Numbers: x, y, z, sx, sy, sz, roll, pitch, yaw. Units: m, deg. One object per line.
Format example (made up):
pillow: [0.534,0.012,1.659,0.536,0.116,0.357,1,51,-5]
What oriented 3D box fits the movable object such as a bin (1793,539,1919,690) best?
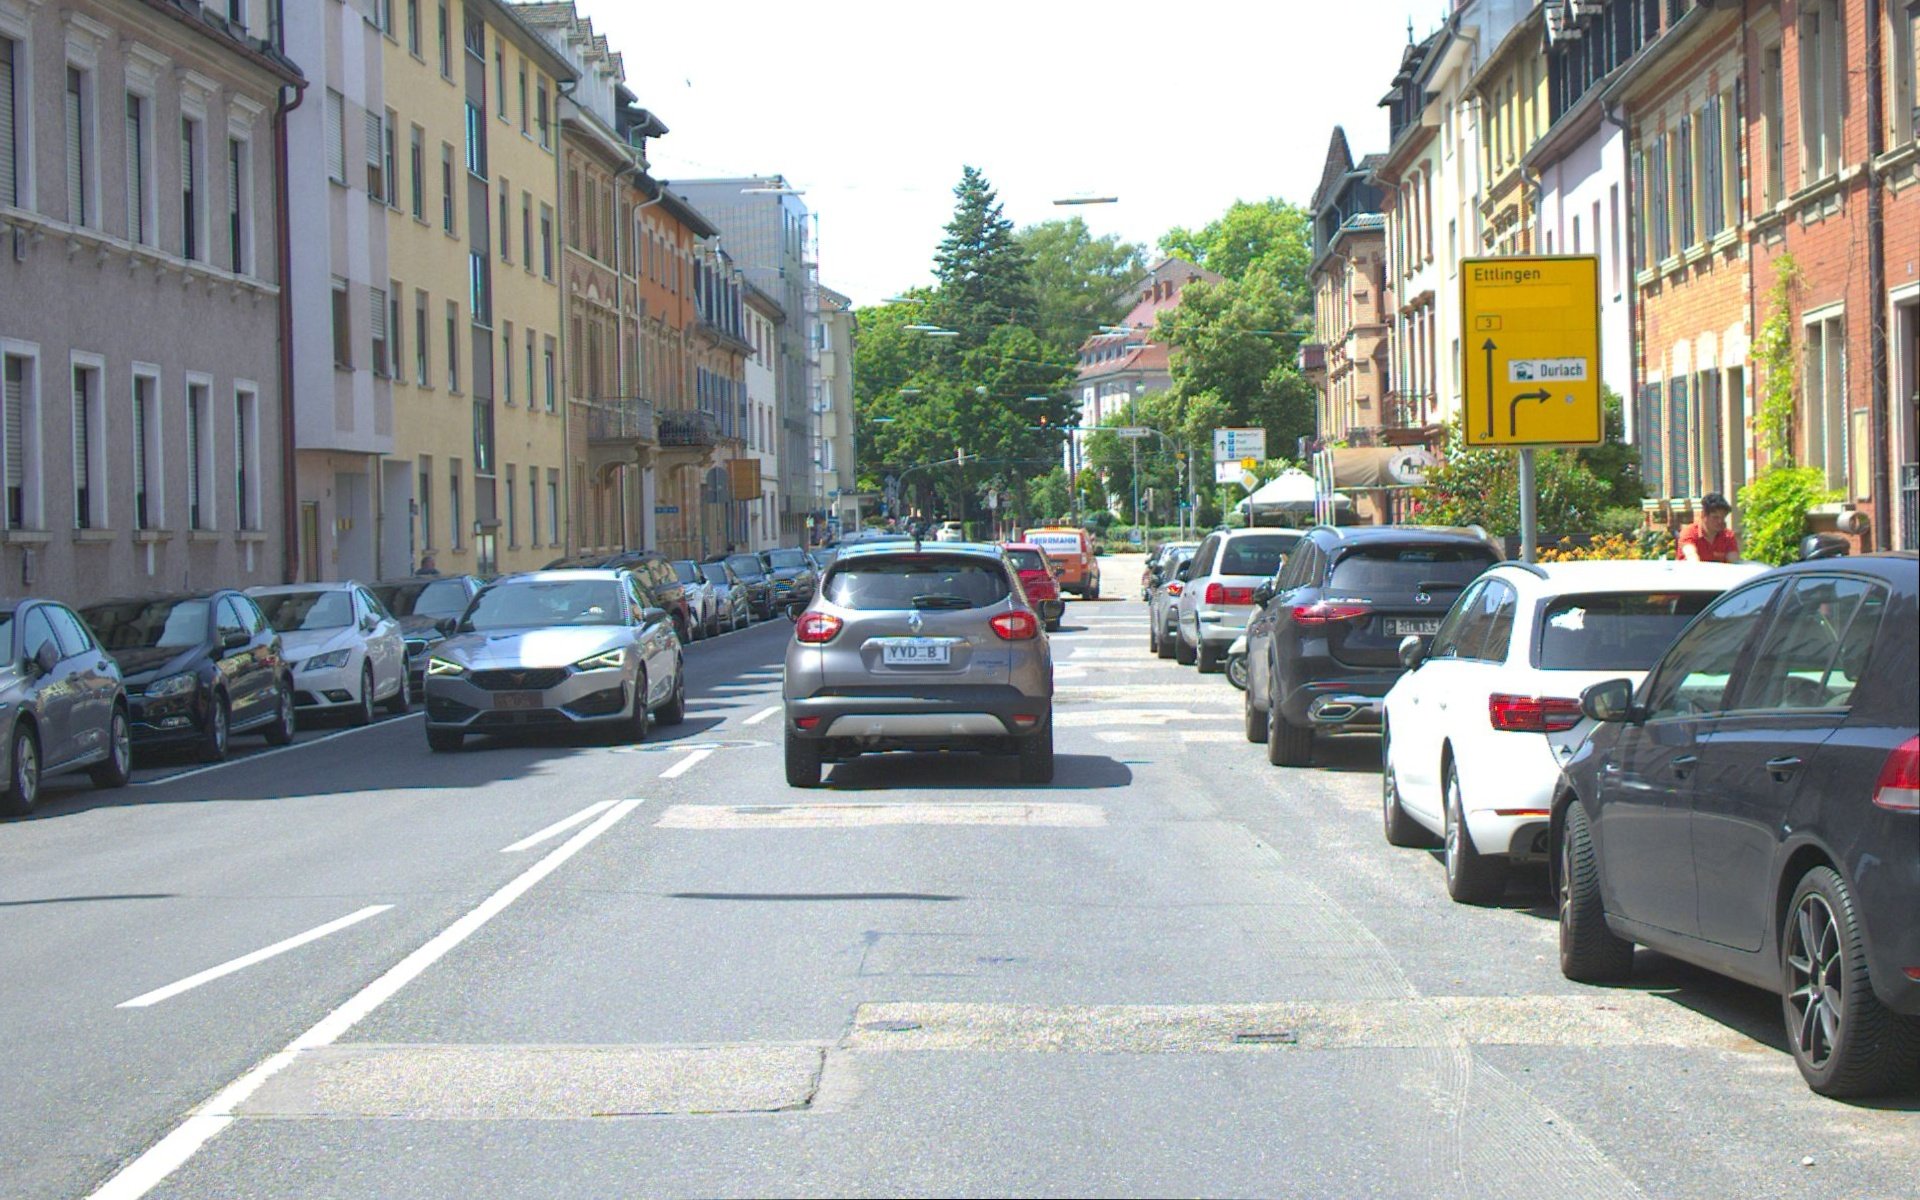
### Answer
movable object such as a bin: [6.717,0.103,25.727,0.788,1.085,0.539,-3,1,-1]

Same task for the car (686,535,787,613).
car: [-5.188,-0.633,80.335,1.905,1.614,4.302,-4,1,1]

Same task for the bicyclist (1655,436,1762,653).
bicyclist: [5.213,-0.387,23.969,0.532,1.464,0.791,-3,1,2]

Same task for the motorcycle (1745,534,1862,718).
motorcycle: [5.967,0.166,24.360,0.440,1.233,1.358,-4,1,1]

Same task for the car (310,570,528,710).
car: [-6.397,0.428,41.140,1.840,1.417,4.646,-4,1,-1]

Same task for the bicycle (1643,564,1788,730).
bicycle: [5.241,0.308,23.939,0.593,1.062,1.882,-3,1,2]

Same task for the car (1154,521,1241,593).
car: [5.304,-0.984,77.278,1.860,1.548,4.000,0,1,3]

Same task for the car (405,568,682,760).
car: [-3.479,0.489,29.453,1.790,1.415,4.315,-2,1,0]

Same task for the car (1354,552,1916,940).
car: [2.909,0.543,15.771,1.716,1.409,4.589,-3,1,1]

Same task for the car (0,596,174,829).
car: [-6.999,0.814,24.093,1.840,1.417,4.503,-7,1,0]

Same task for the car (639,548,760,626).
car: [-5.339,-0.293,70.944,1.905,1.396,4.755,-4,1,2]

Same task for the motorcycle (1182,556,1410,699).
motorcycle: [3.397,0.272,34.821,1.994,1.381,1.110,-1,1,40]

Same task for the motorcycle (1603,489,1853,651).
motorcycle: [7.445,-0.298,33.405,2.129,1.403,0.937,-4,1,1]

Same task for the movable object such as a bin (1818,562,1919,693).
movable object such as a bin: [6.751,0.195,25.109,0.788,0.904,0.539,-3,1,-1]

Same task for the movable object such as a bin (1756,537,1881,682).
movable object such as a bin: [6.718,0.071,26.918,0.788,1.085,0.554,-3,1,-1]

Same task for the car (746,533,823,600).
car: [-4.661,-0.910,91.787,1.904,1.614,4.303,-4,1,-2]

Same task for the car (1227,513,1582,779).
car: [3.104,0.258,24.910,1.993,1.656,4.625,-3,1,1]

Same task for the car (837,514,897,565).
car: [-3.564,-2.341,132.052,1.905,1.815,4.302,-3,1,3]

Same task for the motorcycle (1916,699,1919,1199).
motorcycle: [2.951,0.790,6.357,1.994,1.221,1.110,0,1,40]

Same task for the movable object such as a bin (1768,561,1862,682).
movable object such as a bin: [7.765,0.191,31.241,0.659,1.051,0.748,-2,1,2]

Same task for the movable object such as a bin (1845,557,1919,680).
movable object such as a bin: [8.442,0.163,31.222,0.609,1.073,0.761,-2,1,2]

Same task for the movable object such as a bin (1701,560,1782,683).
movable object such as a bin: [7.111,0.191,31.286,0.557,1.072,0.727,-2,1,2]

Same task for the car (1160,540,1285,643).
car: [4.061,-0.168,53.752,1.695,1.482,4.618,0,1,1]

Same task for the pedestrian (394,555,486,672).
pedestrian: [-8.076,0.203,53.388,1.151,1.744,0.969,-2,1,4]

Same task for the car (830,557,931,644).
car: [-1.799,-0.015,79.705,1.993,1.786,5.148,-3,1,2]

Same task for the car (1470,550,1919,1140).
car: [2.944,0.570,10.762,1.648,1.409,4.502,-2,1,-5]

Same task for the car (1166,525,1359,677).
car: [3.674,-0.035,42.487,1.860,1.742,4.619,0,1,-1]

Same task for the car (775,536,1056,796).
car: [-0.223,0.380,23.547,1.744,1.611,4.000,-1,1,2]

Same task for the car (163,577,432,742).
car: [-6.696,0.555,35.212,1.840,1.417,4.503,-4,1,-1]

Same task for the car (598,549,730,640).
car: [-5.527,-0.130,64.751,1.905,1.505,4.302,-4,1,2]

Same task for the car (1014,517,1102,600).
car: [2.628,-1.127,91.077,1.994,2.006,4.466,-3,1,5]

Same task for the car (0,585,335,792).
car: [-6.878,0.704,29.703,1.840,1.417,4.502,-6,1,2]

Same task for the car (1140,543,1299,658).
car: [3.561,-0.032,47.788,1.860,1.482,4.310,0,1,0]

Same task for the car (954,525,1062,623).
car: [0.838,-0.498,62.572,1.812,1.615,4.442,-4,1,0]
